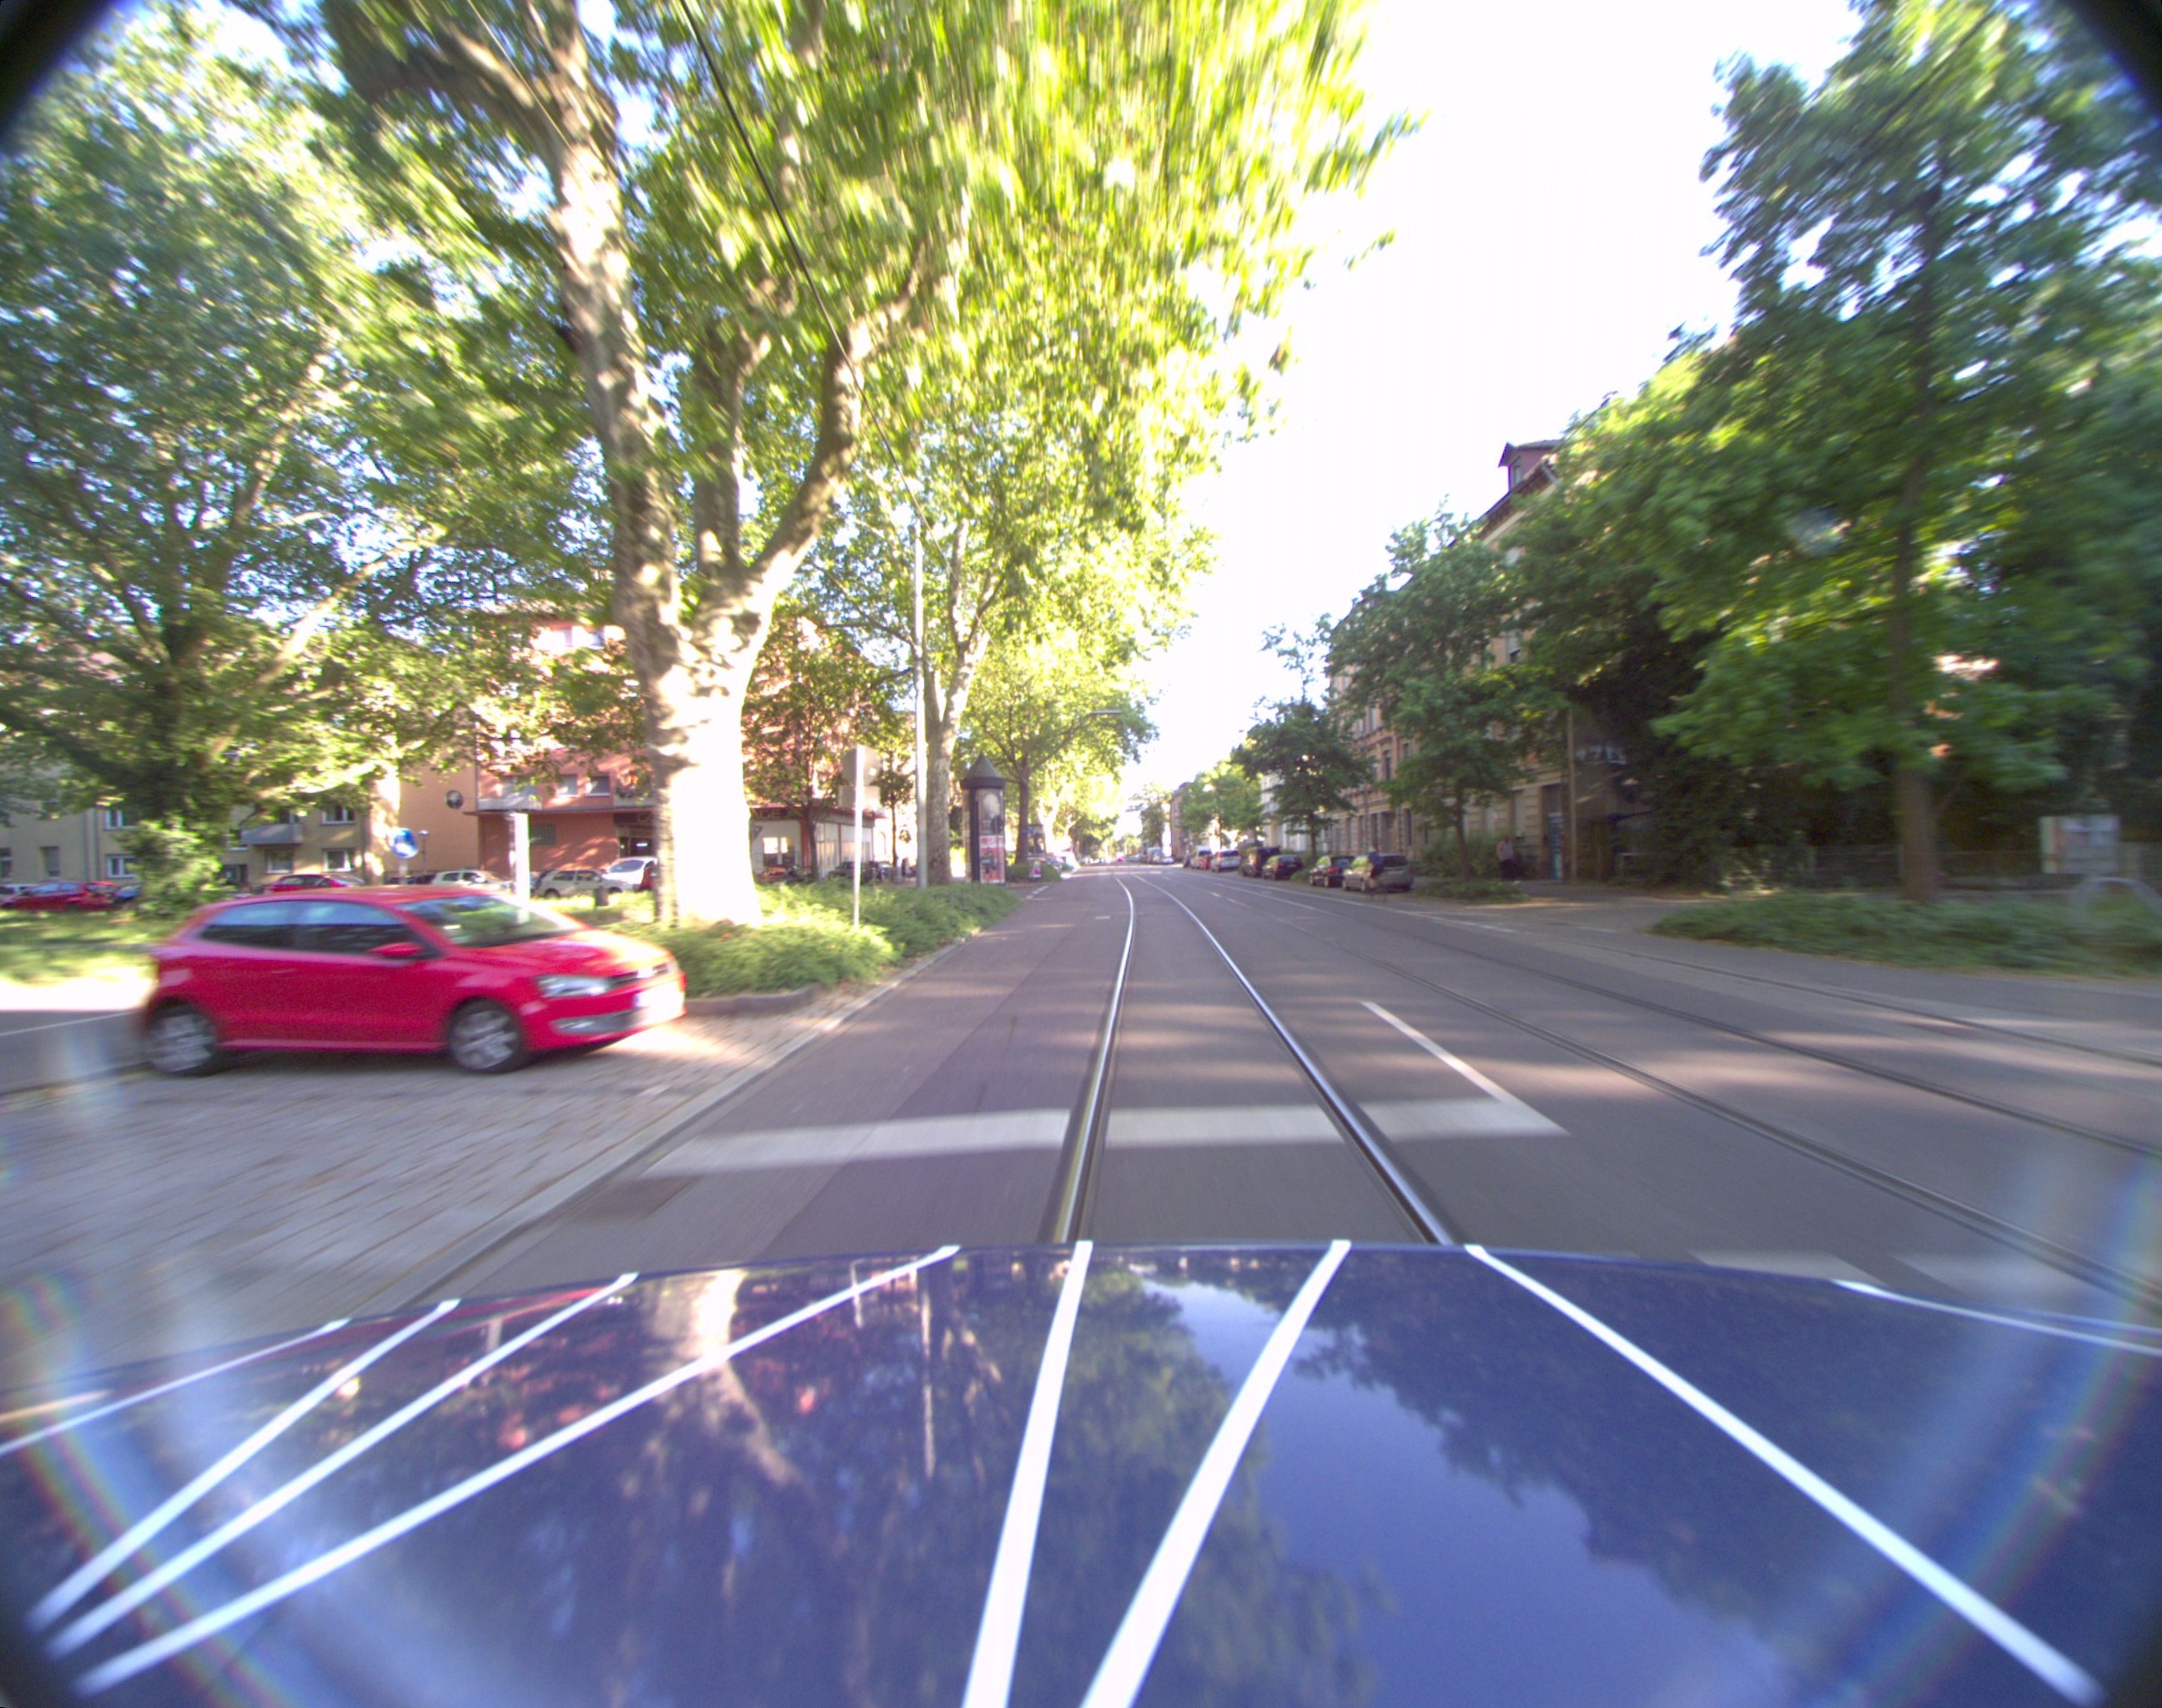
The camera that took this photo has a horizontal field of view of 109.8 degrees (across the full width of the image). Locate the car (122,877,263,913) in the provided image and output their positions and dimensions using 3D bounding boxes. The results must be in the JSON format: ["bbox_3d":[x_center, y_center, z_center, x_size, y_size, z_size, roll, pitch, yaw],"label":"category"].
[{"bbox_3d":[-44.611,2.008,38.321,1.794,1.565,4.577,-1,0,-2],"label":"car"}]

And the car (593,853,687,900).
[{"bbox_3d":[-22.371,1.073,38.795,1.917,2.171,5.084,-1,0,-2],"label":"car"}]

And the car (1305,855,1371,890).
[{"bbox_3d":[11.536,0.797,34.368,1.662,1.437,3.949,-2,0,1],"label":"car"}]

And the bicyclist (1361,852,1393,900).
[{"bbox_3d":[9.283,0.680,23.854,0.642,1.447,0.837,2,0,1],"label":"bicyclist"}]

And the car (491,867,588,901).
[{"bbox_3d":[-27.475,1.475,38.738,1.794,1.565,4.577,-1,0,-2],"label":"car"}]

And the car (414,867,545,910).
[{"bbox_3d":[-24.450,1.382,30.981,3.927,1.572,1.683,-1,0,-1],"label":"car"}]

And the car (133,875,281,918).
[{"bbox_3d":[-34.975,1.676,30.482,3.927,1.572,1.683,-1,0,-1],"label":"car"}]

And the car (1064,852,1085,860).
[{"bbox_3d":[-1.380,0.501,173.079,4.610,1.705,1.894,-1,-1,4],"label":"car"}]

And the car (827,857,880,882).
[{"bbox_3d":[-13.790,0.893,46.249,1.753,1.426,4.468,-1,0,2],"label":"car"}]

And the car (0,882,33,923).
[{"bbox_3d":[-44.843,1.976,30.203,3.927,1.572,1.683,-1,0,-1],"label":"car"}]

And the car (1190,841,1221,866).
[{"bbox_3d":[12.951,-0.021,79.269,2.310,2.493,5.343,-1,0,0],"label":"car"}]

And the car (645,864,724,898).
[{"bbox_3d":[-20.187,1.313,38.922,1.794,1.565,4.577,-1,0,-2],"label":"car"}]

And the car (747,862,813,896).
[{"bbox_3d":[-15.300,1.226,38.906,1.794,1.565,4.576,-1,0,-4],"label":"car"}]

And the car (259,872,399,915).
[{"bbox_3d":[-30.342,1.565,30.753,3.927,1.572,1.683,-1,0,-1],"label":"car"}]

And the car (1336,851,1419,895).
[{"bbox_3d":[11.399,0.678,29.515,1.703,1.541,4.537,-2,0,5],"label":"car"}]

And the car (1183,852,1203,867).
[{"bbox_3d":[13.077,0.618,88.691,1.997,1.680,4.262,-1,0,4],"label":"car"}]

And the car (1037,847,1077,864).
[{"bbox_3d":[-2.969,0.188,94.606,4.859,2.002,2.194,0,0,-2],"label":"car"}]

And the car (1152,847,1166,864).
[{"bbox_3d":[13.536,0.176,132.569,1.927,2.730,4.547,-5,0,2],"label":"car"}]

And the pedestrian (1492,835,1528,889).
[{"bbox_3d":[15.025,0.293,26.626,0.743,1.836,0.728,-3,0,0],"label":"pedestrian"}]

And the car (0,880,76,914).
[{"bbox_3d":[-54.300,2.182,38.104,1.794,1.565,4.577,-1,0,-2],"label":"car"}]

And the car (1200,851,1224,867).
[{"bbox_3d":[12.797,0.463,74.519,1.689,1.530,3.707,-1,0,1],"label":"car"}]

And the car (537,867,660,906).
[{"bbox_3d":[-19.638,1.297,31.045,3.927,1.444,1.683,-1,0,-1],"label":"car"}]

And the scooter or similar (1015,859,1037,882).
[{"bbox_3d":[-3.076,0.924,42.639,1.211,1.232,0.569,-1,1,0],"label":"scooter or similar"}]

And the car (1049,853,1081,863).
[{"bbox_3d":[-2.443,0.635,118.247,4.810,1.621,1.893,-1,-1,2],"label":"car"}]

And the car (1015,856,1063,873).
[{"bbox_3d":[-3.845,0.951,69.386,4.210,1.439,1.817,-1,0,1],"label":"car"}]

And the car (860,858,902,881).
[{"bbox_3d":[-13.741,1.037,52.374,1.753,1.426,3.950,-1,0,2],"label":"car"}]

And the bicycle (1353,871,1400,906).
[{"bbox_3d":[9.262,1.057,23.868,0.642,0.981,2.101,2,0,1],"label":"bicycle"}]

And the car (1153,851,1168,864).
[{"bbox_3d":[13.197,0.533,126.580,1.927,2.034,4.941,-2,0,0],"label":"car"}]

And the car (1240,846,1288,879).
[{"bbox_3d":[12.046,0.523,50.339,1.998,2.002,4.834,-1,0,0],"label":"car"}]

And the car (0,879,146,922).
[{"bbox_3d":[-40.468,1.842,30.403,3.927,1.572,1.683,-1,0,-1],"label":"car"}]

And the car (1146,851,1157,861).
[{"bbox_3d":[13.941,0.391,151.172,1.791,1.743,4.435,-2,0,0],"label":"car"}]

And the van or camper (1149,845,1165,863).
[{"bbox_3d":[13.868,0.000,139.311,2.423,2.960,5.991,-5,0,2],"label":"van or camper"}]

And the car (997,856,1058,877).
[{"bbox_3d":[-4.113,0.963,58.896,4.413,1.534,1.952,-1,0,4],"label":"car"}]

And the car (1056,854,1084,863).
[{"bbox_3d":[-1.867,0.776,131.525,4.610,1.485,1.894,-1,-1,4],"label":"car"}]

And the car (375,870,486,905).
[{"bbox_3d":[-32.779,1.641,38.505,1.794,1.565,4.577,-1,0,-2],"label":"car"}]

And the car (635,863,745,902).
[{"bbox_3d":[-15.731,1.126,30.667,3.547,1.444,1.683,-1,0,-1],"label":"car"}]

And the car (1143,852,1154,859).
[{"bbox_3d":[14.311,0.335,161.283,1.791,1.462,4.435,-2,0,0],"label":"car"}]

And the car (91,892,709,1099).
[{"bbox_3d":[-5.526,1.106,6.476,3.893,1.415,1.649,-1,0,4],"label":"car"}]

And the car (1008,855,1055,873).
[{"bbox_3d":[-4.684,0.912,71.929,4.209,1.546,1.818,-1,0,4],"label":"car"}]

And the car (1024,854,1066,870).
[{"bbox_3d":[-3.747,0.817,79.216,4.209,1.609,1.818,-1,0,4],"label":"car"}]

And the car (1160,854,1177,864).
[{"bbox_3d":[13.352,0.766,115.919,1.776,1.484,4.940,-2,0,-1],"label":"car"}]

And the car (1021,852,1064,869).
[{"bbox_3d":[-3.851,0.627,76.599,4.211,1.609,1.878,-1,0,-1],"label":"car"}]

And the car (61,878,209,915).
[{"bbox_3d":[-47.290,2.092,38.161,1.794,1.565,4.577,-1,0,-2],"label":"car"}]

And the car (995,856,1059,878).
[{"bbox_3d":[-4.007,0.970,56.318,4.411,1.534,1.819,-1,0,8],"label":"car"}]

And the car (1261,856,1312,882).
[{"bbox_3d":[12.021,0.841,44.800,1.857,1.450,4.270,-1,0,0],"label":"car"}]

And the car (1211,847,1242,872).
[{"bbox_3d":[12.262,0.461,64.438,1.848,1.977,4.988,-1,0,2],"label":"car"}]
